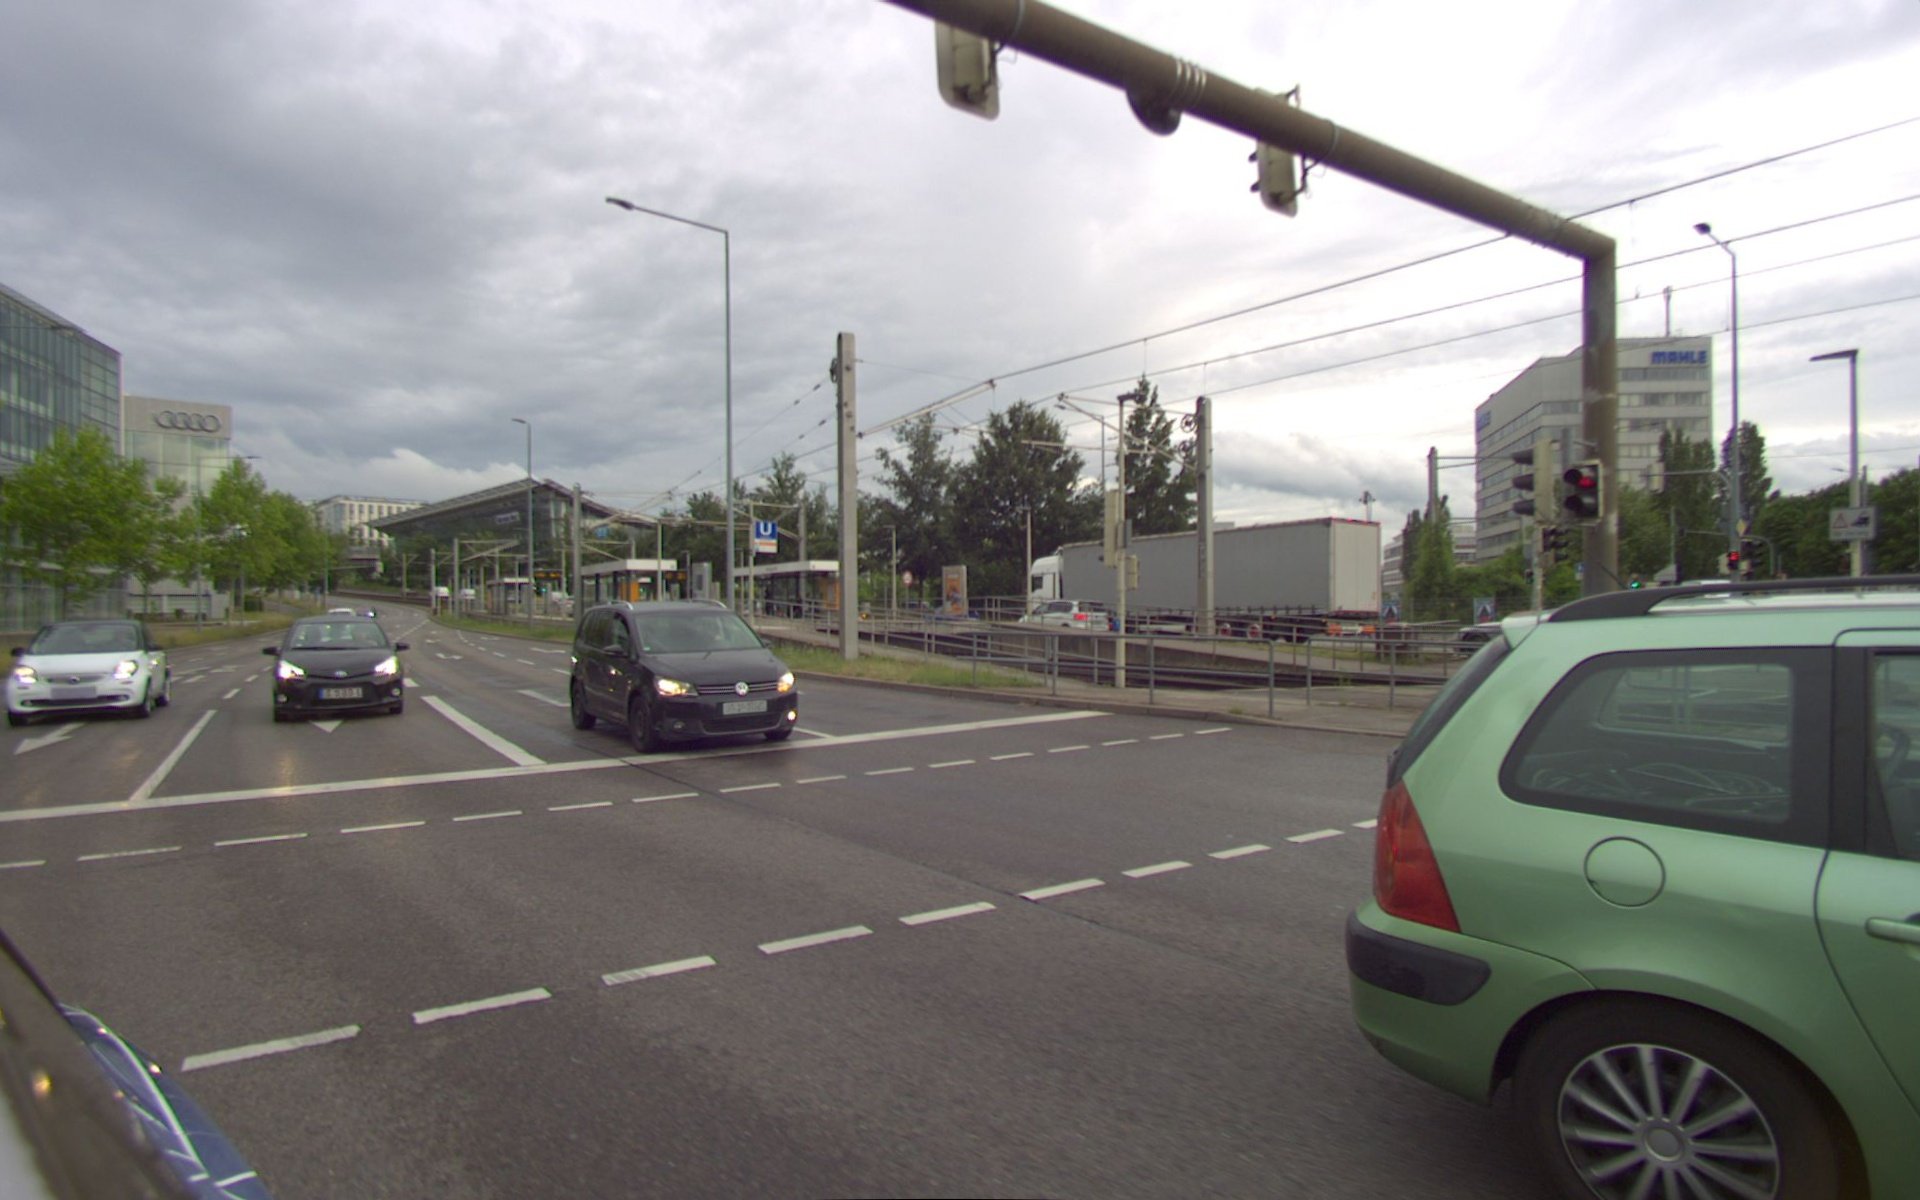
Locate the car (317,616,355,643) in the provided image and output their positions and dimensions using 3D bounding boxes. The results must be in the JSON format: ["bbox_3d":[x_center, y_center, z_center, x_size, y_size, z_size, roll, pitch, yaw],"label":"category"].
[{"bbox_3d":[-45.731,2.146,74.234,1.799,1.723,4.167,-3,1,-24],"label":"car"}]

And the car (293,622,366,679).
[{"bbox_3d":[-18.992,1.474,30.618,1.711,1.489,4.012,-3,0,-30],"label":"car"}]

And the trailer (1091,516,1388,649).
[{"bbox_3d":[9.586,-0.382,36.924,2.756,4.139,11.474,0,-2,-32],"label":"trailer"}]

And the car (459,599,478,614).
[{"bbox_3d":[-76.182,0.977,156.781,1.966,2.231,5.158,-3,1,-32],"label":"car"}]

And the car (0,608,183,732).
[{"bbox_3d":[-13.983,1.037,16.397,1.776,1.736,4.012,0,-1,-31],"label":"car"}]

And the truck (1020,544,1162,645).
[{"bbox_3d":[5.485,-0.159,43.401,2.793,4.026,6.003,-1,-1,-32],"label":"truck"}]

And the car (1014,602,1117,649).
[{"bbox_3d":[4.094,0.955,39.941,1.861,1.664,4.108,-3,1,-31],"label":"car"}]

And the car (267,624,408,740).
[{"bbox_3d":[-9.888,1.200,16.007,1.670,1.534,3.915,-2,-1,-33],"label":"car"}]

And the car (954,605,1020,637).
[{"bbox_3d":[1.459,1.122,56.212,1.550,1.639,4.093,-3,1,-34],"label":"car"}]

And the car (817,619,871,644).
[{"bbox_3d":[-7.617,2.039,66.311,1.715,1.473,4.164,-3,1,-34],"label":"car"}]

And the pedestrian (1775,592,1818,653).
[{"bbox_3d":[23.648,0.627,28.607,0.716,1.675,0.741,-2,1,-35],"label":"pedestrian"}]

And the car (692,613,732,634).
[{"bbox_3d":[-19.333,1.796,78.709,1.763,1.514,4.011,-3,1,-33],"label":"car"}]

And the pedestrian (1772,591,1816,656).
[{"bbox_3d":[22.907,0.636,27.793,0.716,1.718,0.741,-2,1,-35],"label":"pedestrian"}]

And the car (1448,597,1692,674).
[{"bbox_3d":[14.342,0.783,24.060,1.877,1.566,4.578,-3,1,-33],"label":"car"}]

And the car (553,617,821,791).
[{"bbox_3d":[-3.431,1.063,12.115,1.704,1.604,4.203,-3,1,-35],"label":"car"}]

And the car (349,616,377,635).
[{"bbox_3d":[-54.976,2.334,93.285,1.673,1.534,3.838,-1,1,-23],"label":"car"}]

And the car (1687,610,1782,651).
[{"bbox_3d":[30.675,1.185,40.104,3.259,1.446,1.459,-1,1,-20],"label":"car"}]

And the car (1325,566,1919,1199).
[{"bbox_3d":[3.170,0.651,1.819,4.399,1.479,1.678,-2,1,39],"label":"car"}]

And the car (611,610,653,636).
[{"bbox_3d":[-23.084,1.566,71.109,1.508,1.679,4.280,-3,1,-35],"label":"car"}]
